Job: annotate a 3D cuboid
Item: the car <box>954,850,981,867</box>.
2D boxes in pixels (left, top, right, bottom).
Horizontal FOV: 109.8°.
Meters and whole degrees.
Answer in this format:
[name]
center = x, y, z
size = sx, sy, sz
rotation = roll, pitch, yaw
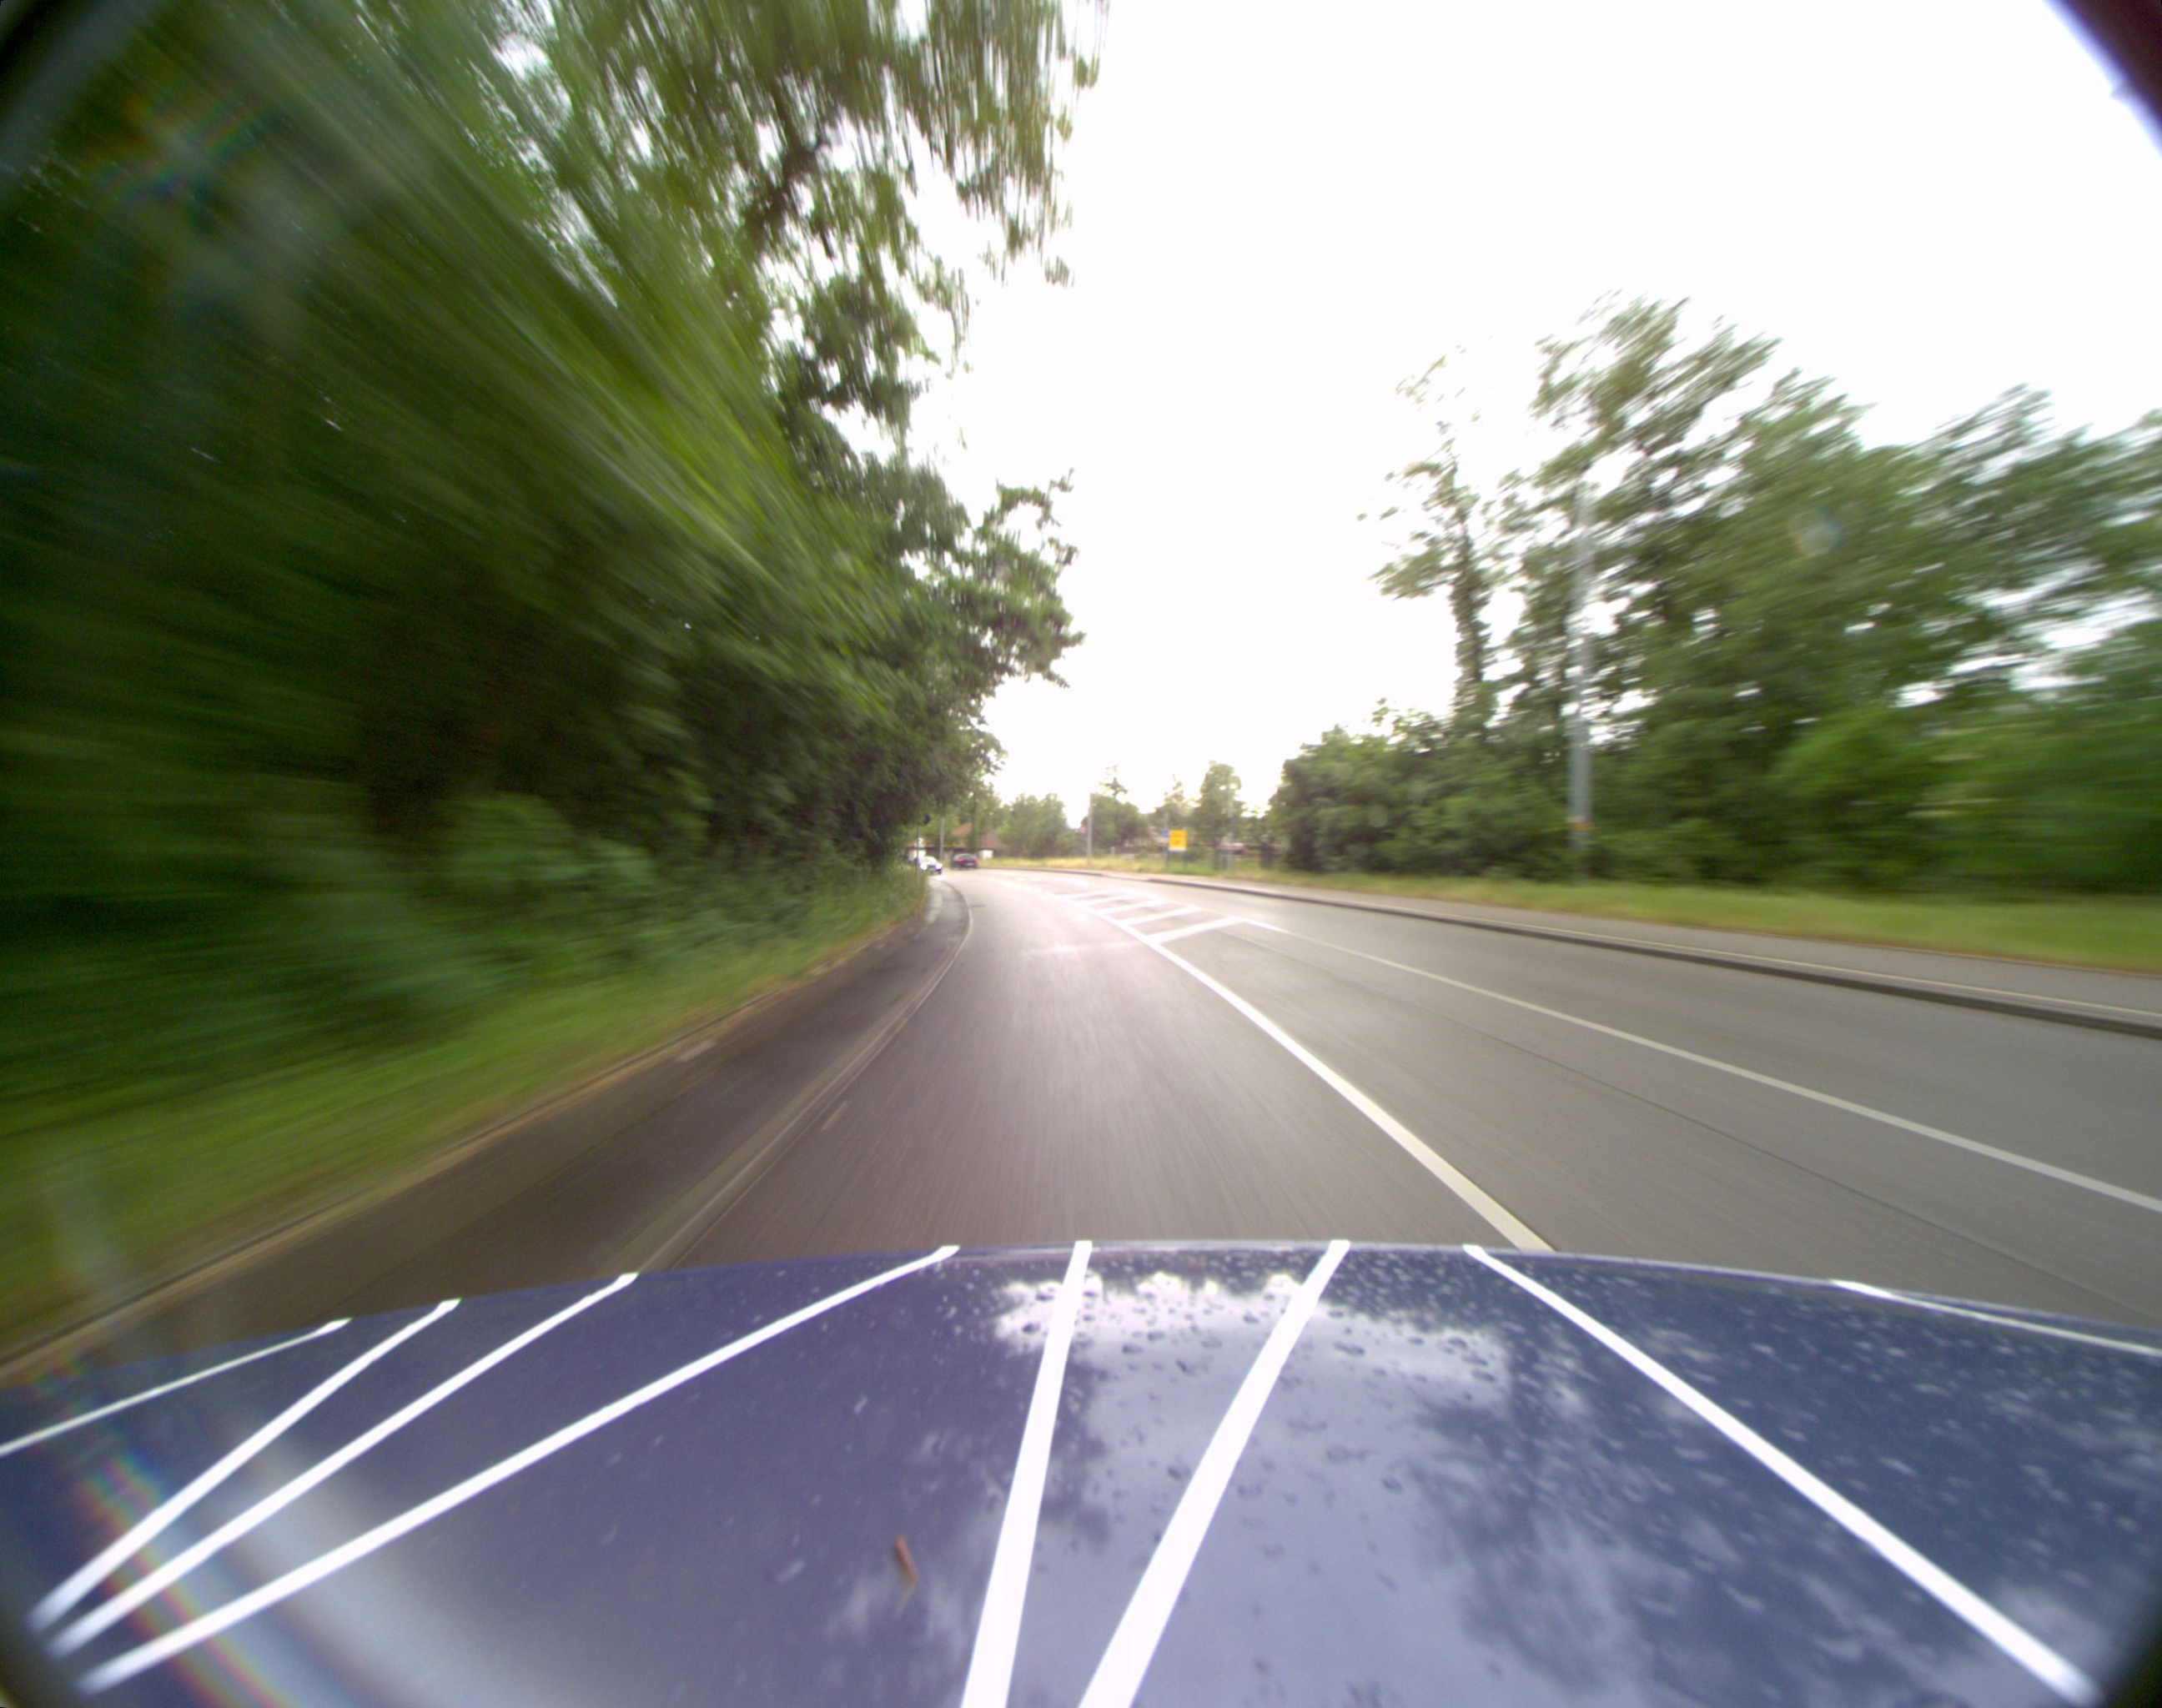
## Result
[car]
center = -10.543, 0.411, 70.626
size = 1.601, 1.469, 3.785
rotation = -2, 1, -22
